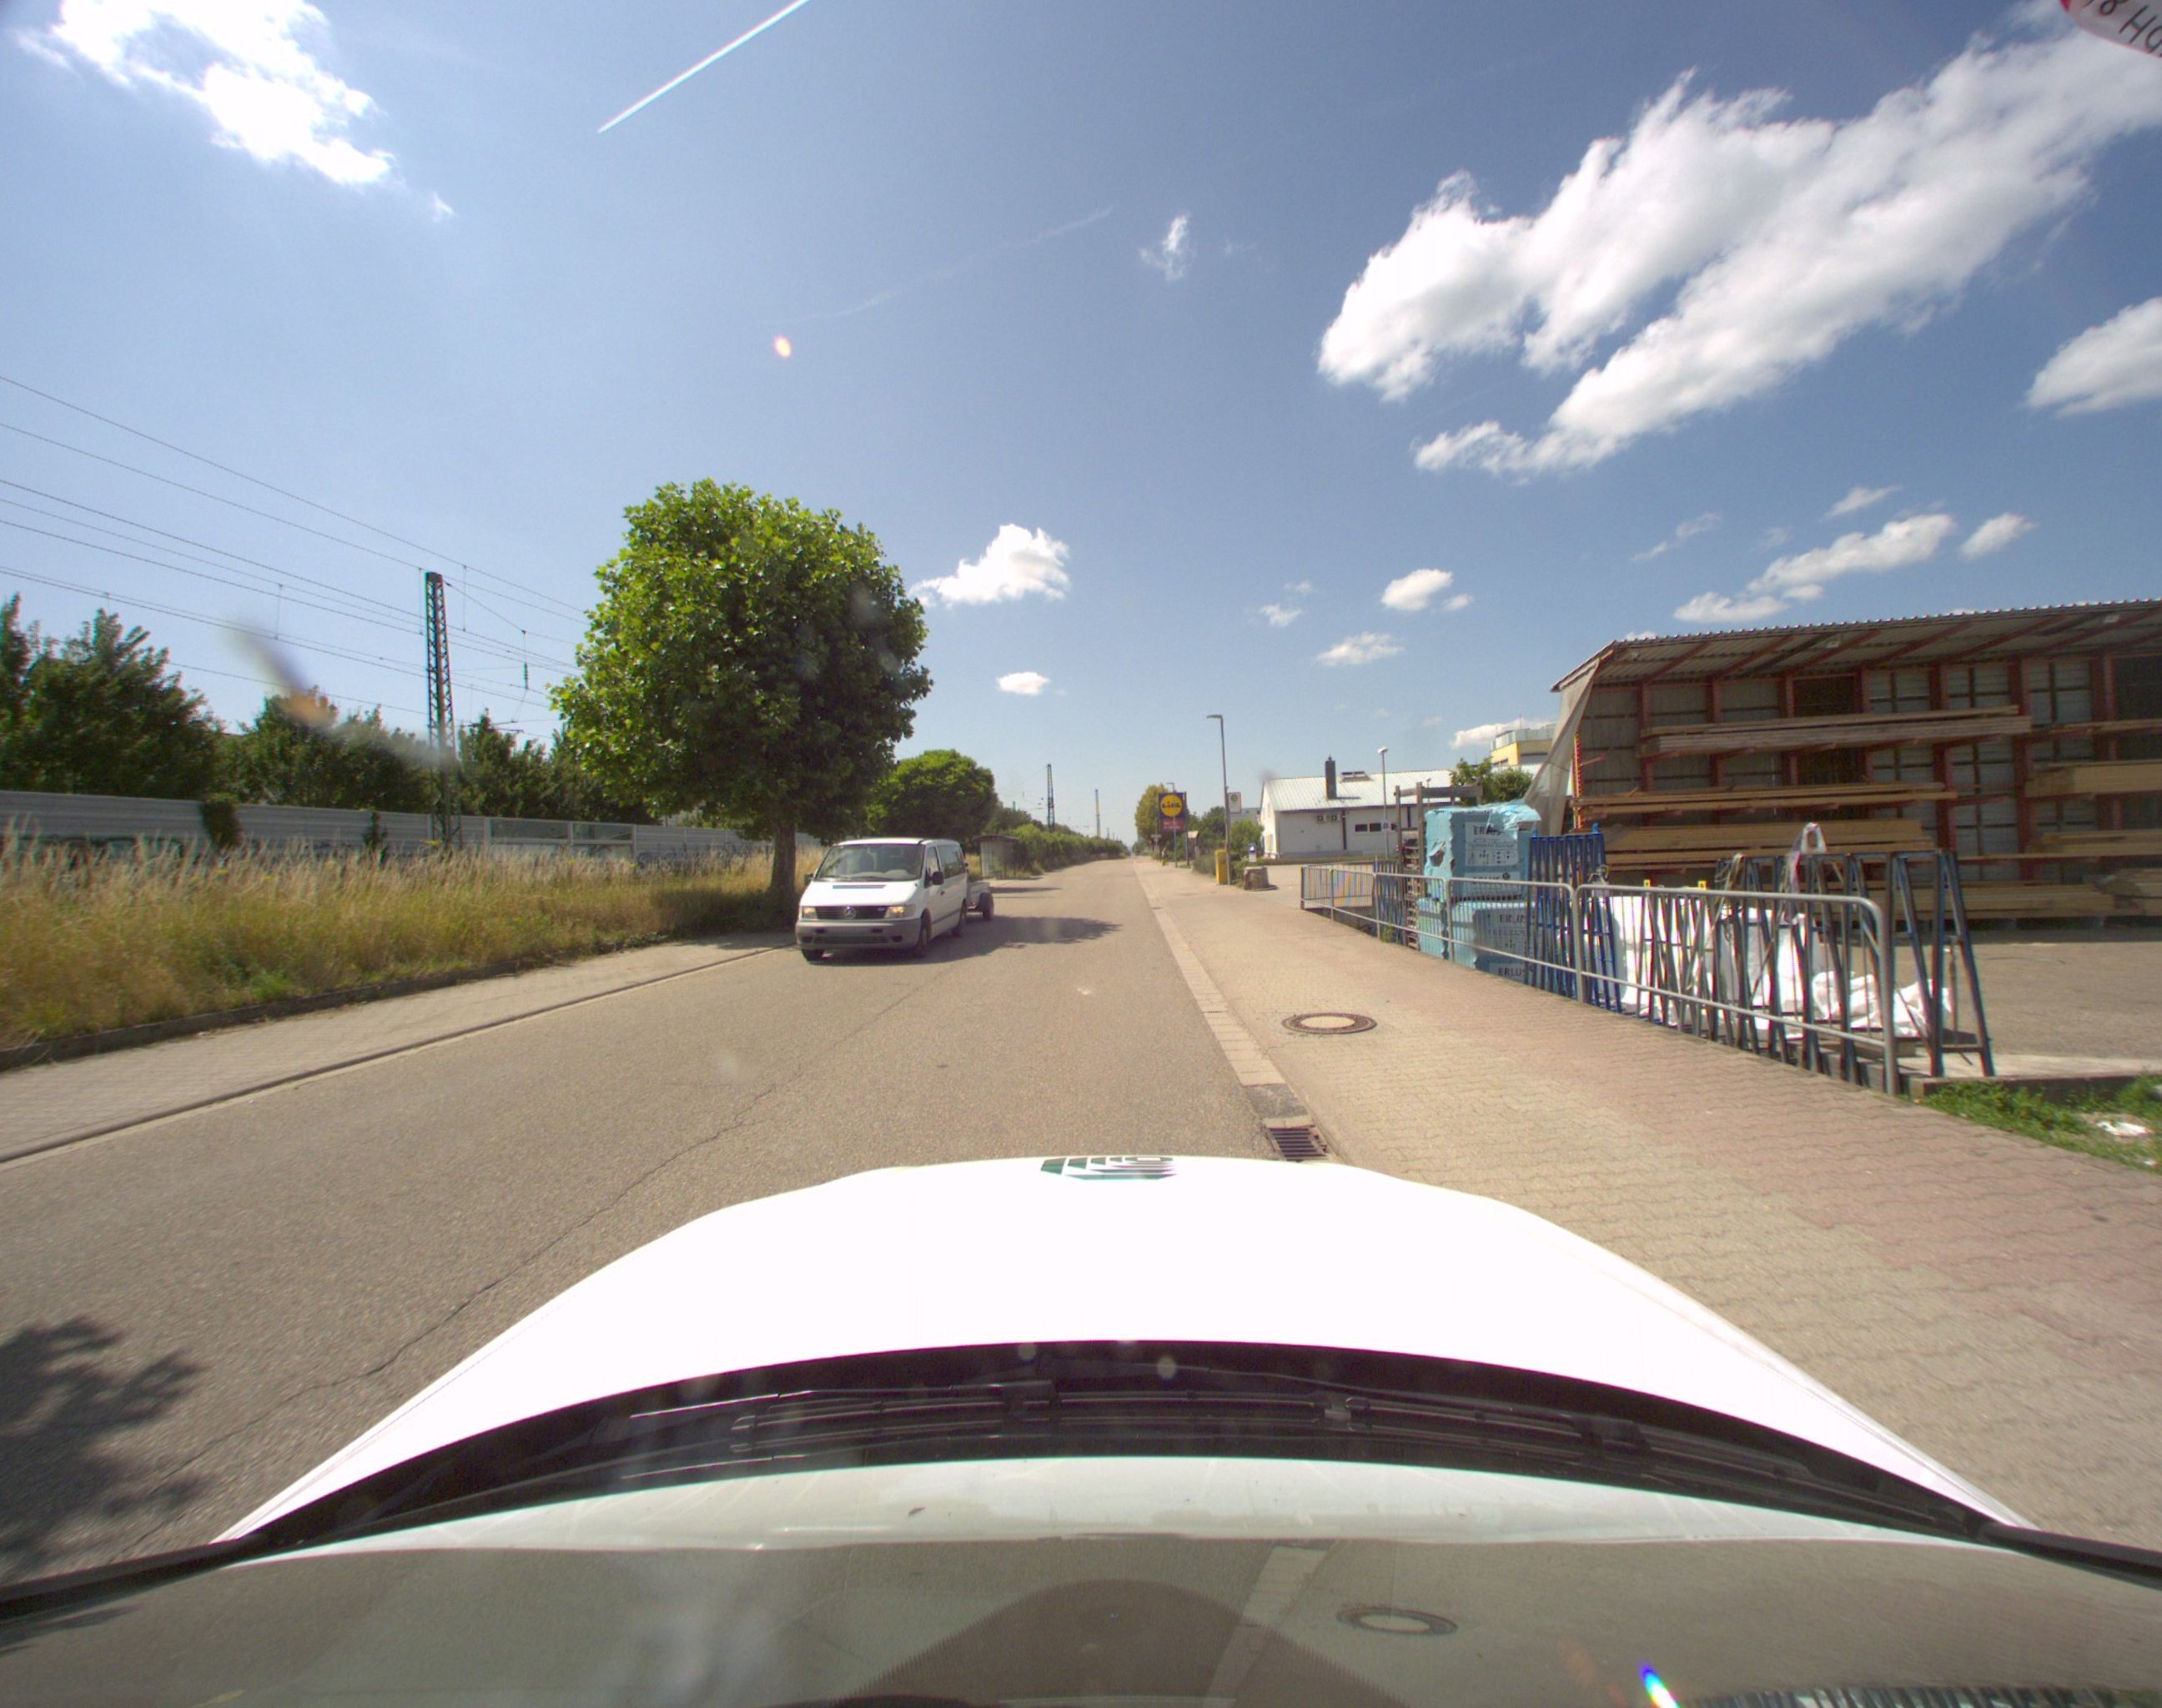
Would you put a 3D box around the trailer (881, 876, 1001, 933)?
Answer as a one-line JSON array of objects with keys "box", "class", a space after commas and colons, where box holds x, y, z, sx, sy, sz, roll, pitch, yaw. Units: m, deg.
[{"box": [-2.970, 1.053, 18.162, 1.812, 0.850, 4.223, -3, 1, 1], "class": "trailer"}]

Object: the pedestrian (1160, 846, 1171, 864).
[{"box": [7.376, 0.078, 70.919, 0.759, 1.601, 1.210, -2, 0, 0], "class": "pedestrian"}]

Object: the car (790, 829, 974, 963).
[{"box": [-3.117, 0.593, 13.791, 1.831, 1.858, 4.485, -2, 0, 2], "class": "car"}]
